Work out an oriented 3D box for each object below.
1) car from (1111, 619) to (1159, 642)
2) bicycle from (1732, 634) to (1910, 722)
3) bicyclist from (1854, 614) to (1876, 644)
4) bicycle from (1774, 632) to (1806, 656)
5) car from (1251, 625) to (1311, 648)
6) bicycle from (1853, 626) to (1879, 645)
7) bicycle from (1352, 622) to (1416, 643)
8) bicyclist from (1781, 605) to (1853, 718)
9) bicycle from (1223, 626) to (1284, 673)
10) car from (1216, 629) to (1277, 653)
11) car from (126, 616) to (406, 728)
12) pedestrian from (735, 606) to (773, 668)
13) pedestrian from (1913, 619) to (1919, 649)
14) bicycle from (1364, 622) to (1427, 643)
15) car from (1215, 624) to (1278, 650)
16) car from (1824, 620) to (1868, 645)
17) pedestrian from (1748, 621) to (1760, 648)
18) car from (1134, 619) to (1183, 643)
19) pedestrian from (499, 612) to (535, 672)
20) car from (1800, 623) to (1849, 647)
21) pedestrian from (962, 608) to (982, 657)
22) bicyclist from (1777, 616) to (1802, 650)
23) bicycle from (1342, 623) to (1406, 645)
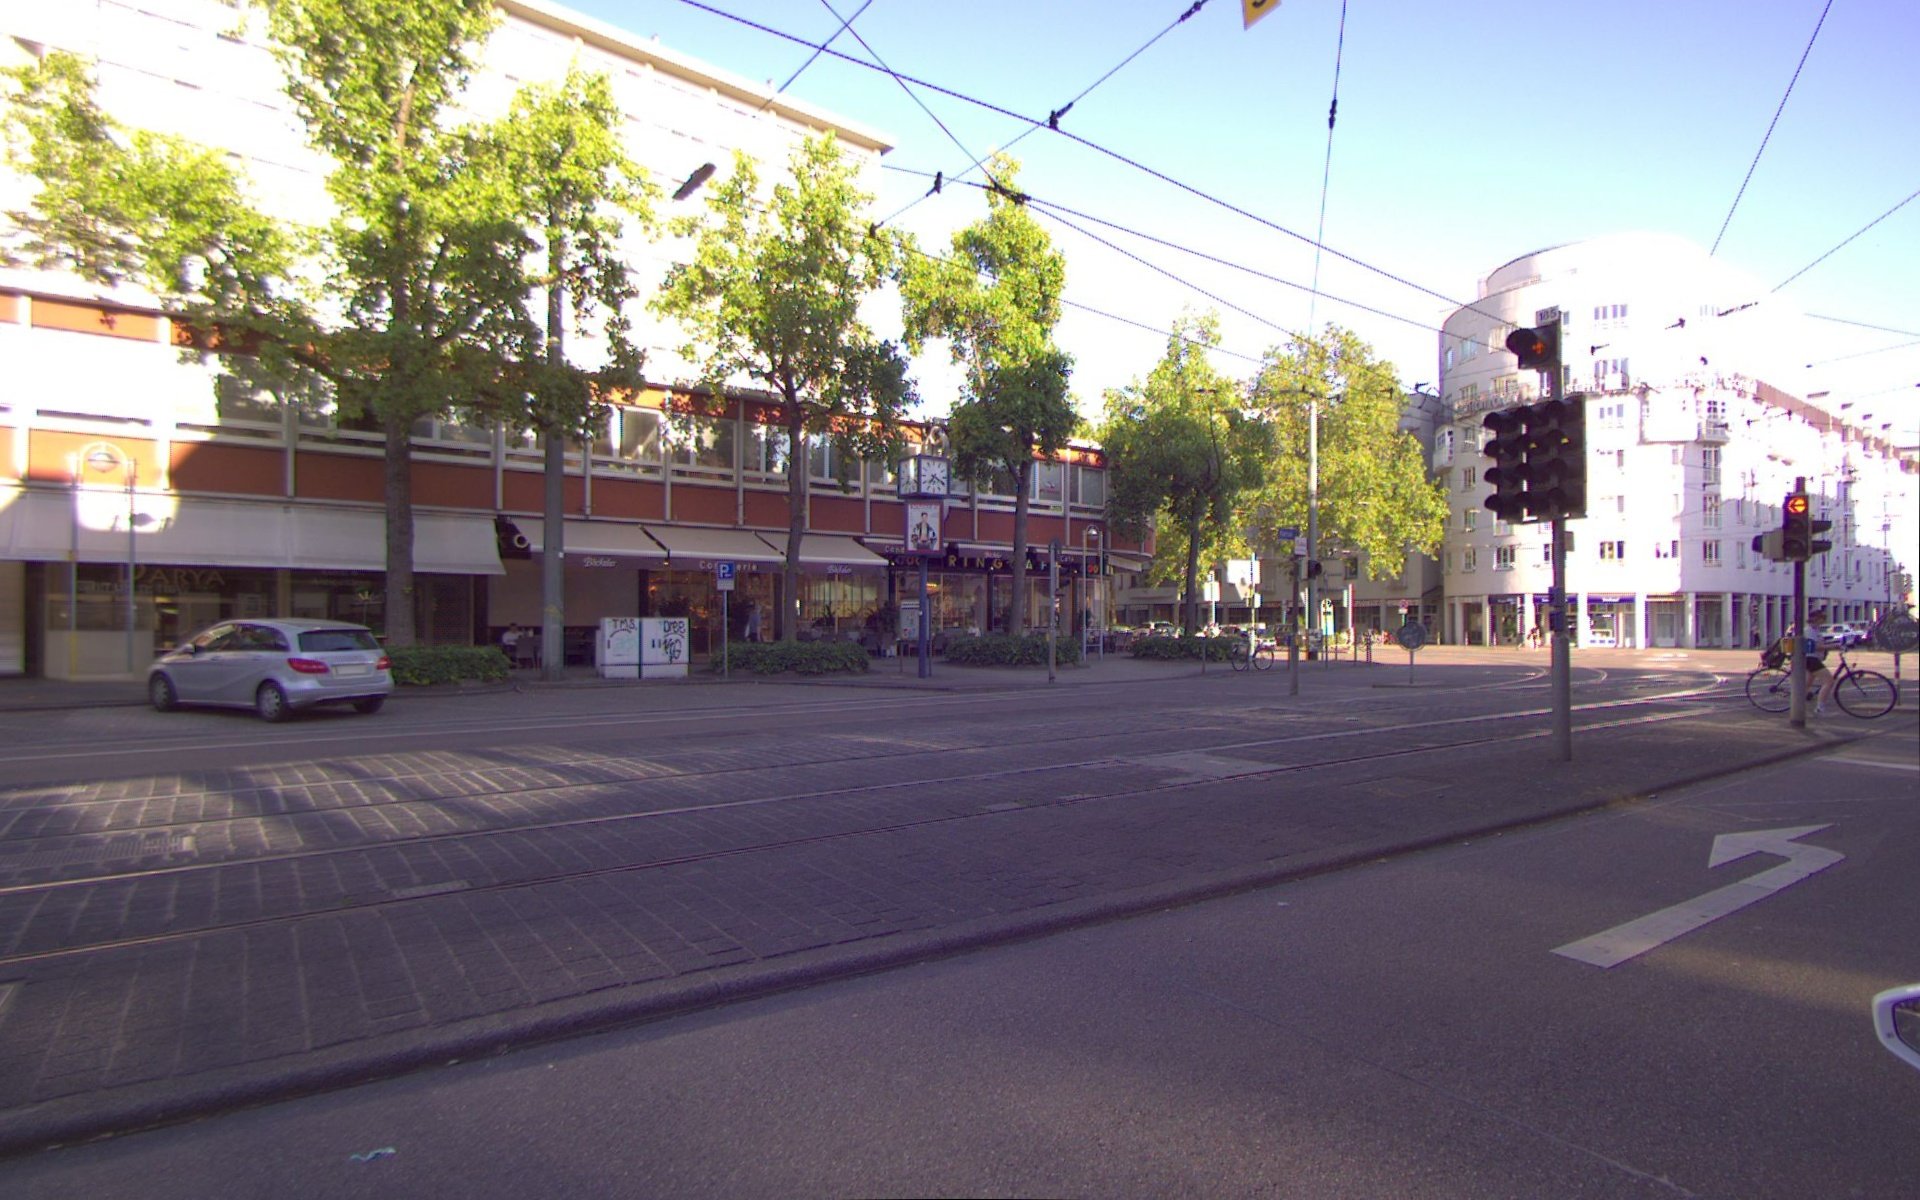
[{"bbox_3d":[15.483,2.683,89.013,3.959,1.990,1.981,1,-1,-35],"label":"car"},{"bbox_3d":[13.133,1.147,15.375,0.623,1.193,2.000,1,0,-41],"label":"bicycle"},{"bbox_3d":[55.897,1.768,62.034,0.984,1.845,0.802,1,-1,-37],"label":"bicyclist"},{"bbox_3d":[42.158,2.220,51.030,2.030,1.162,0.802,1,-2,-37],"label":"bicycle"},{"bbox_3d":[22.507,2.544,70.482,1.598,1.551,3.967,0,-1,-31],"label":"car"},{"bbox_3d":[56.112,2.204,62.190,1.991,1.162,0.802,1,-2,-37],"label":"bicycle"},{"bbox_3d":[31.982,2.465,75.832,1.055,1.550,4.677,1,-2,-33],"label":"bicycle"},{"bbox_3d":[12.957,0.908,15.187,0.760,1.648,0.723,1,0,-42],"label":"bicyclist"},{"bbox_3d":[8.779,1.470,30.039,1.886,1.345,0.666,1,1,-34],"label":"bicycle"},{"bbox_3d":[16.135,2.282,56.770,1.740,1.312,4.010,0,-2,-11],"label":"car"},{"bbox_3d":[-11.554,1.117,16.736,4.197,1.587,1.827,1,-1,22],"label":"car"},{"bbox_3d":[-5.995,1.066,29.173,0.867,1.745,0.699,0,1,-38],"label":"pedestrian"},{"bbox_3d":[54.895,1.936,57.233,0.567,1.753,0.763,1,-1,-34],"label":"pedestrian"},{"bbox_3d":[33.215,2.499,76.750,1.055,1.550,4.677,1,-2,-33],"label":"bicycle"},{"bbox_3d":[17.644,2.261,62.001,1.607,1.579,3.995,0,-2,-23],"label":"car"},{"bbox_3d":[62.737,2.292,71.142,3.531,1.741,1.689,1,-2,-37],"label":"car"},{"bbox_3d":[50.413,2.160,63.766,0.482,1.704,0.519,1,-2,-44],"label":"pedestrian"},{"bbox_3d":[17.134,2.638,86.616,3.959,1.990,1.981,1,-1,-35],"label":"car"},{"bbox_3d":[-11.842,1.110,26.855,0.700,1.584,0.866,1,-1,-37],"label":"pedestrian"},{"bbox_3d":[57.052,2.275,66.283,3.428,1.566,1.753,1,-2,-36],"label":"car"},{"bbox_3d":[0.439,1.186,36.884,0.590,1.745,0.647,0,1,-18],"label":"pedestrian"},{"bbox_3d":[42.190,1.672,51.063,0.787,1.749,0.802,1,-1,-37],"label":"bicyclist"},{"bbox_3d":[30.985,2.528,75.294,1.055,1.550,4.677,1,-2,-33],"label":"bicycle"}]
